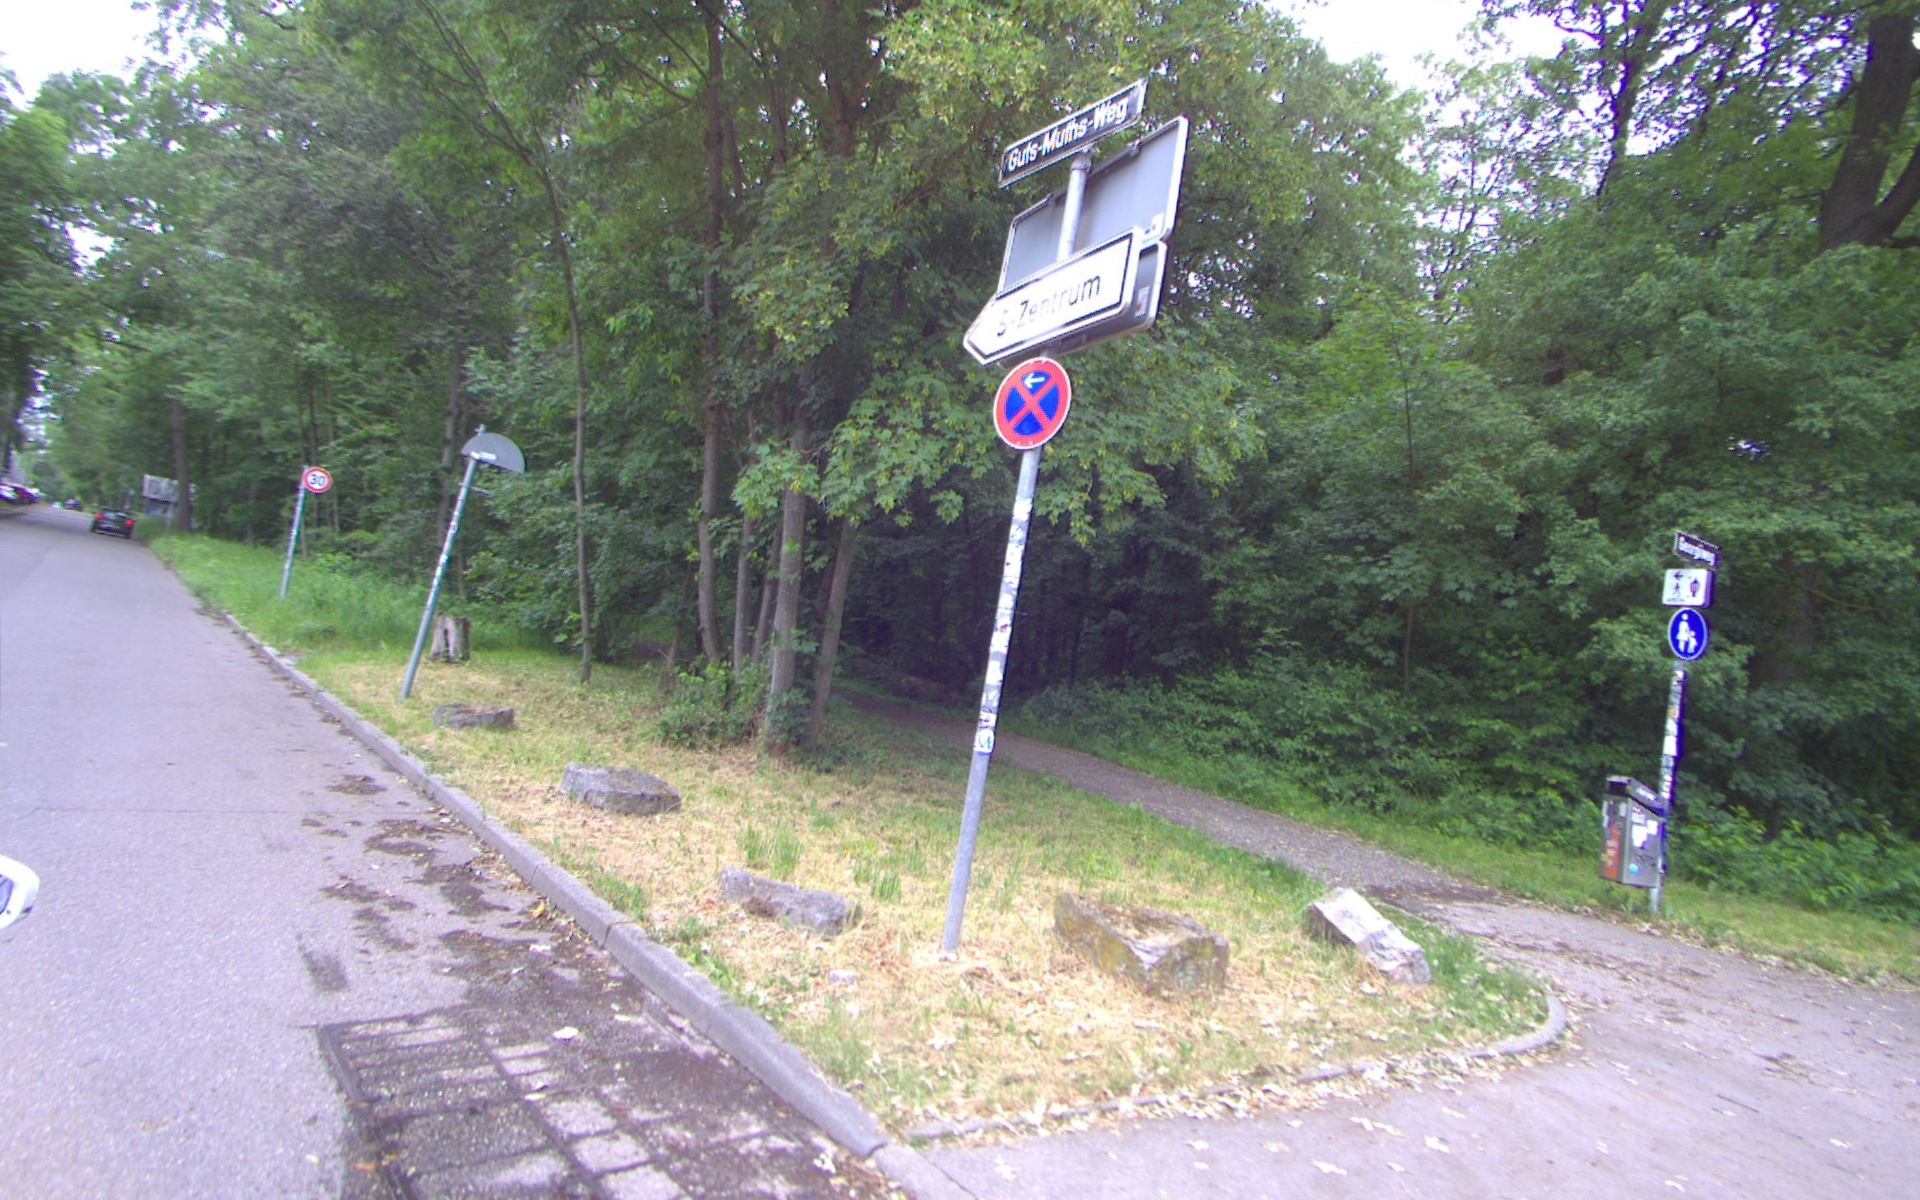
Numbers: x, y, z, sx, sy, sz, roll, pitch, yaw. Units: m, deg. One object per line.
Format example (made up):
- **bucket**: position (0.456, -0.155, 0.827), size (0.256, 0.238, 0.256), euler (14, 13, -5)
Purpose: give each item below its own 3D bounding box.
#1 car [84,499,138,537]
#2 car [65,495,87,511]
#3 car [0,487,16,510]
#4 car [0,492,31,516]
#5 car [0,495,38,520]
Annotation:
- **car**: position (-45.387, -4.362, 53.853), size (1.904, 1.522, 3.957), euler (14, -6, -39)
- **car**: position (-134.751, -14.815, 153.289), size (3.947, 2.036, 1.991), euler (7, -3, 44)
- **car**: position (-85.982, -9.257, 88.595), size (1.975, 1.769, 3.982), euler (7, -3, 45)
- **car**: position (-78.155, -8.035, 81.537), size (1.975, 1.591, 3.981), euler (7, -3, 45)
- **car**: position (-76.275, -7.545, 80.158), size (1.975, 1.591, 3.982), euler (6, -4, 45)
